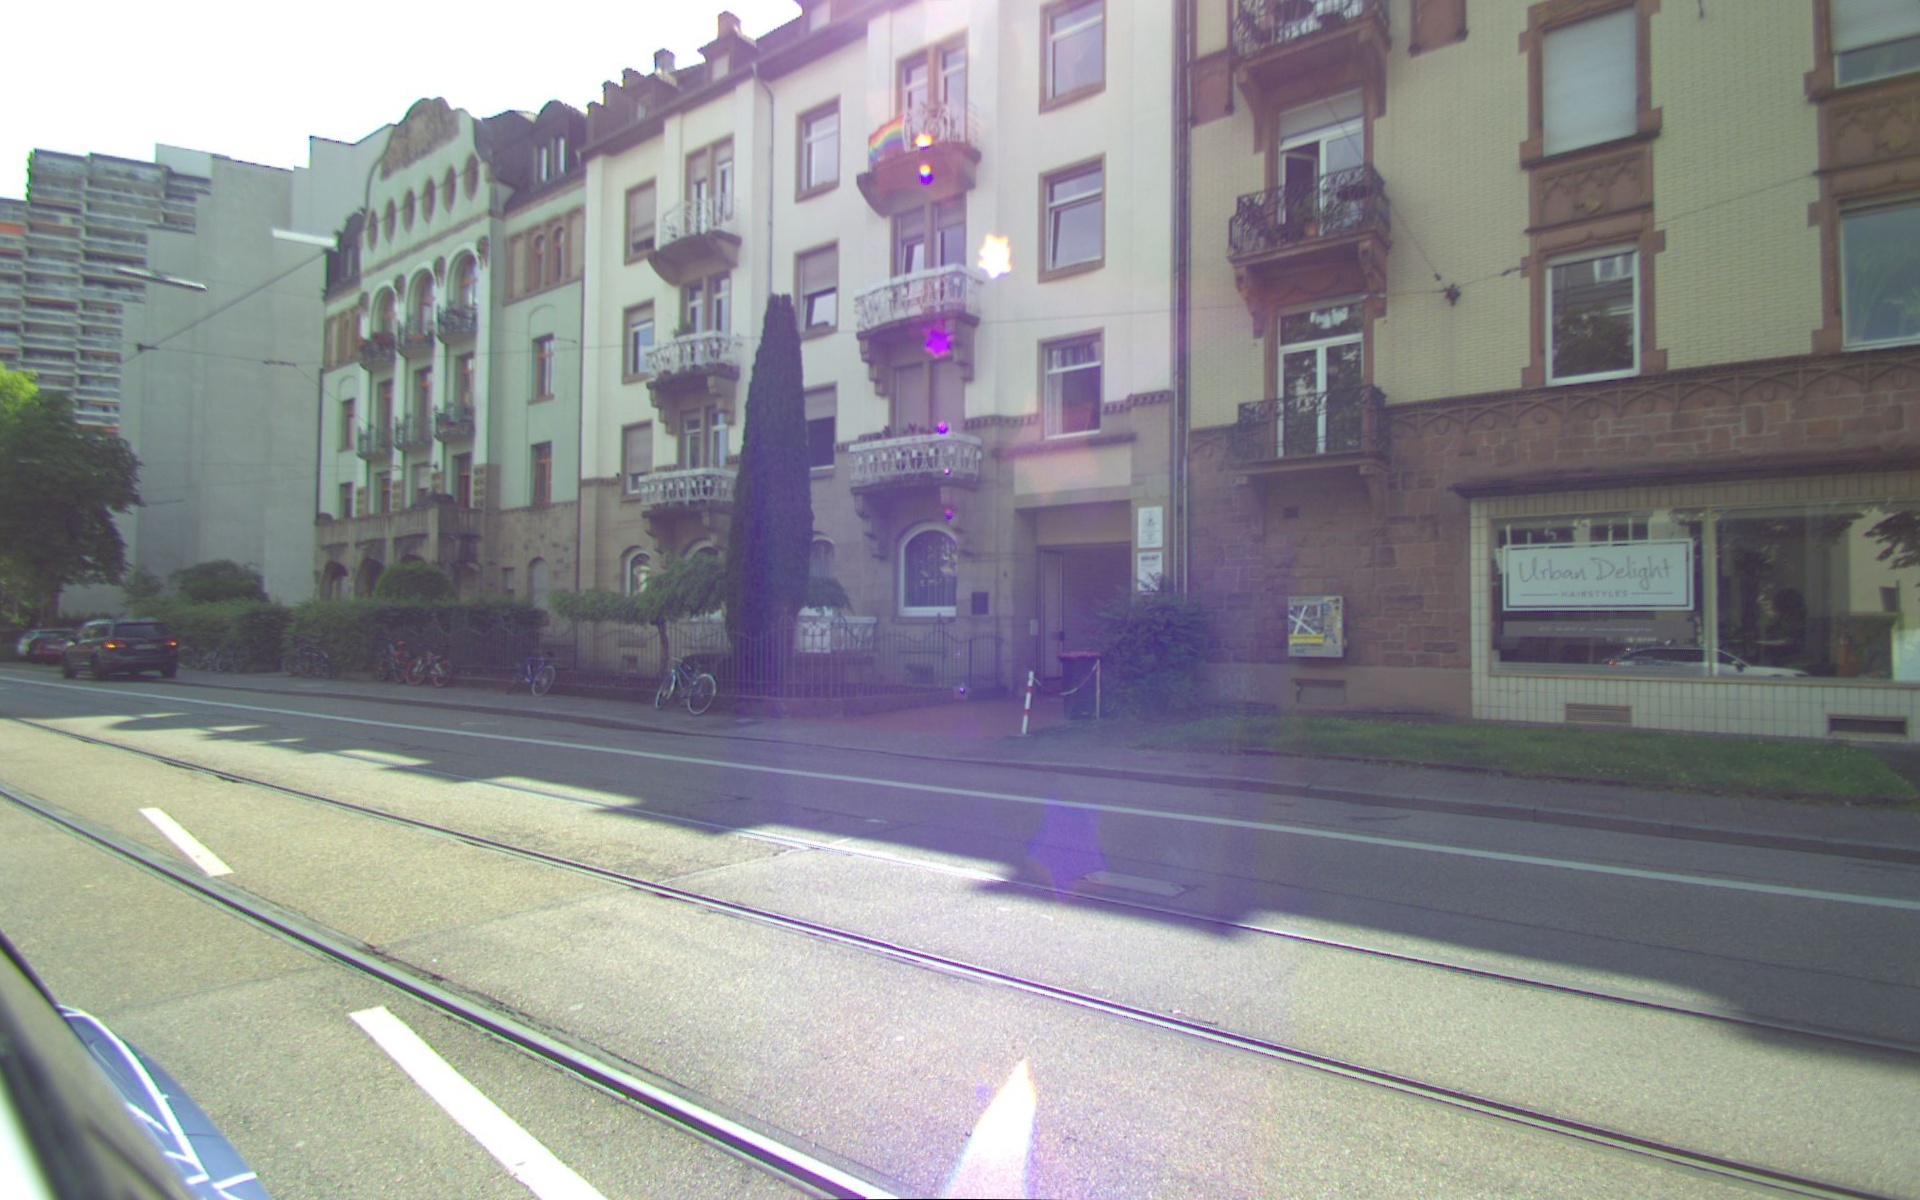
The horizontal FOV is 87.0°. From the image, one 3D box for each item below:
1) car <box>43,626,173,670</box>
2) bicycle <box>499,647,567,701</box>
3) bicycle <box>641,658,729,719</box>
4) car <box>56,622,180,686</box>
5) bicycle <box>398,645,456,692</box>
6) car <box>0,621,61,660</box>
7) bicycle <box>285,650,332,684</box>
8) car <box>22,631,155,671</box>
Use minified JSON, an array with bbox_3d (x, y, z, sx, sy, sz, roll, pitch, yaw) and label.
[{"bbox_3d":[-33.107,1.843,39.389,1.608,1.652,3.587,-1,-2,37],"label":"car"},{"bbox_3d":[-8.889,1.516,21.050,1.872,1.037,0.532,0,-2,42],"label":"bicycle"},{"bbox_3d":[-4.860,1.526,17.795,2.068,0.913,0.517,1,-1,45],"label":"bicycle"},{"bbox_3d":[-24.466,1.515,29.360,4.324,1.724,1.775,-1,-3,37],"label":"car"},{"bbox_3d":[-12.505,1.584,23.715,1.872,0.993,0.579,0,-2,42],"label":"bicycle"},{"bbox_3d":[-48.255,2.059,51.117,1.829,1.940,3.947,-1,-3,39],"label":"car"},{"bbox_3d":[-17.543,1.777,27.232,1.872,0.803,0.579,0,0,42],"label":"bicycle"},{"bbox_3d":[-35.401,2.061,41.198,1.633,1.548,3.841,-1,-3,39],"label":"car"}]
